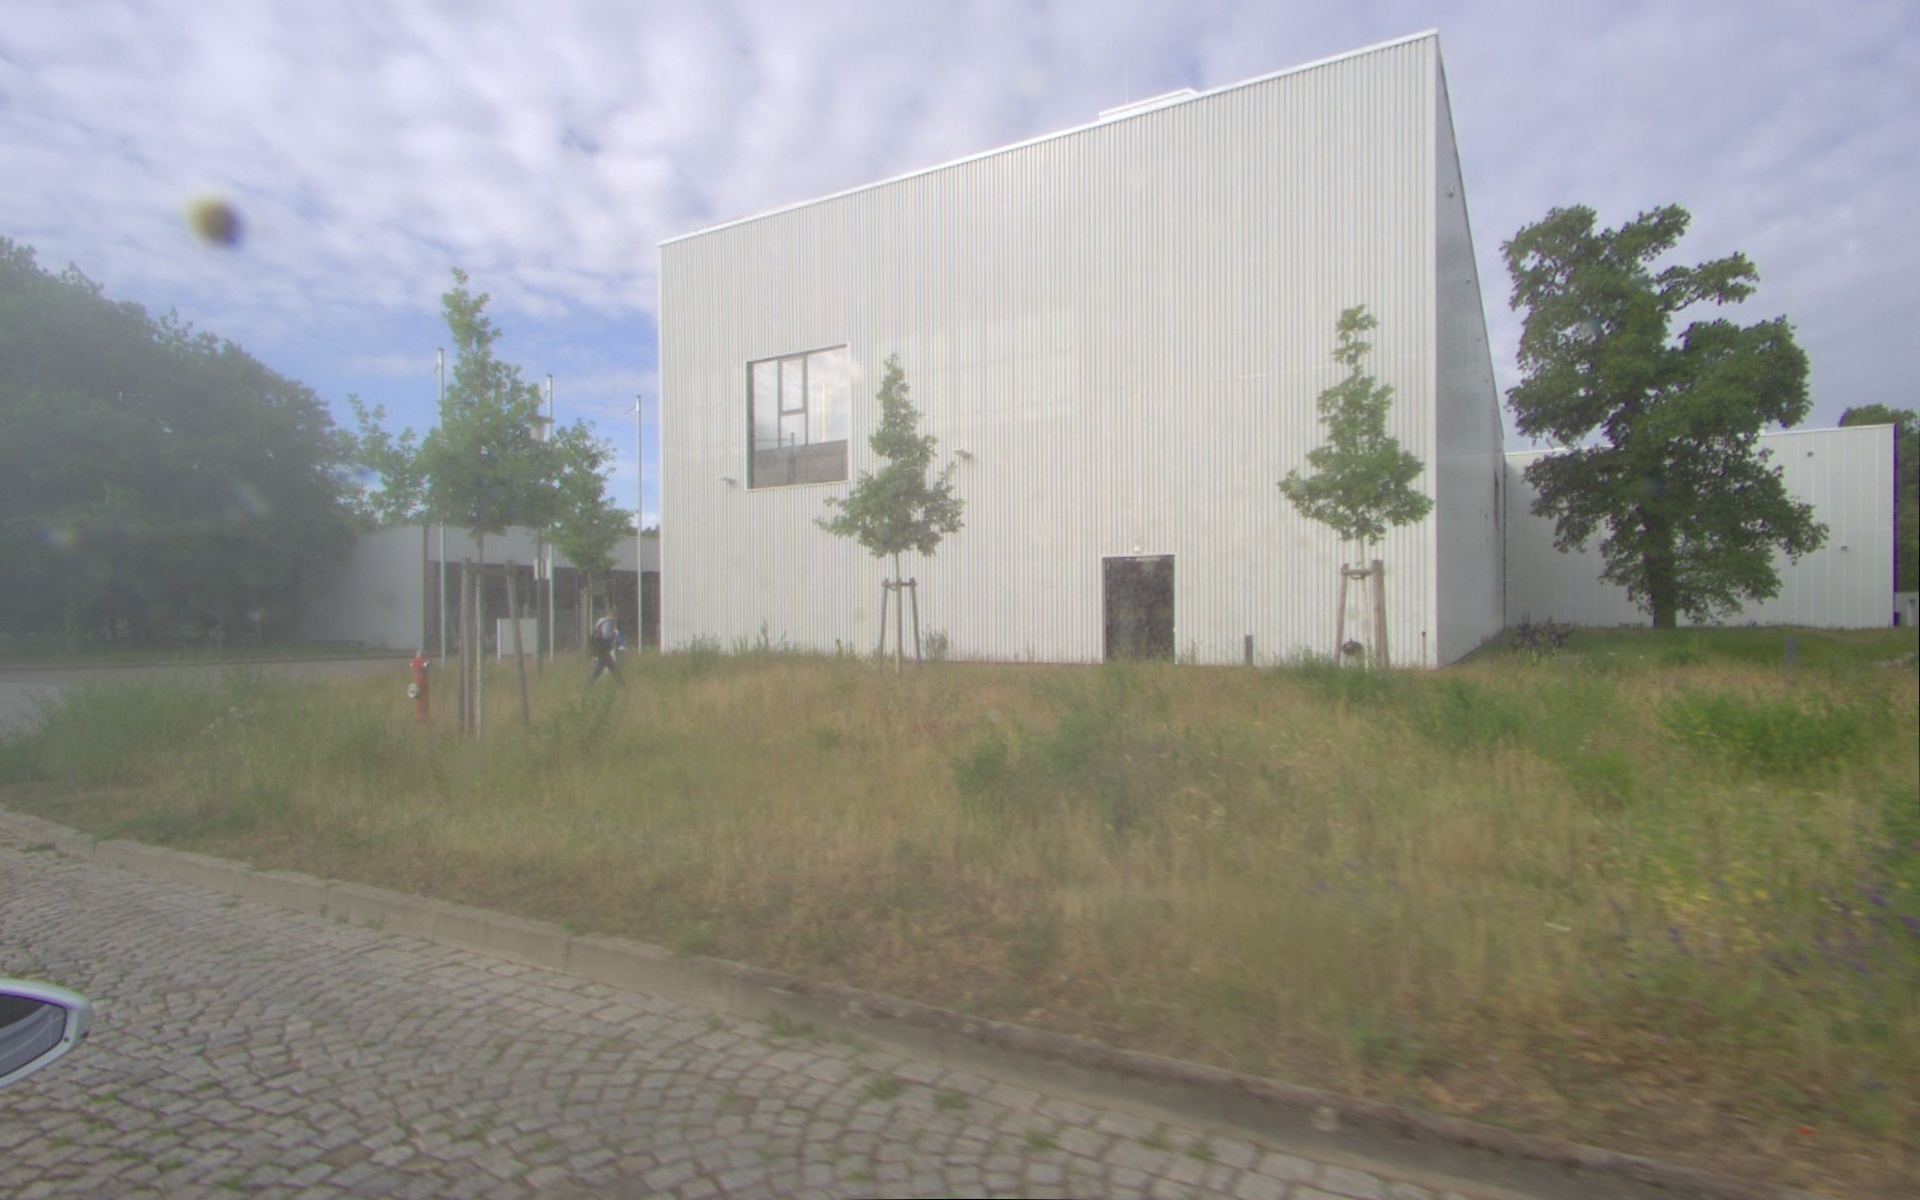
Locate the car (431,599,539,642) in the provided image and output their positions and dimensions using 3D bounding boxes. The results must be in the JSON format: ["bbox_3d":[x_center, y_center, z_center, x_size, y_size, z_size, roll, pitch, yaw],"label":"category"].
[{"bbox_3d":[-23.538,1.007,49.579,5.256,2.040,2.238,-1,0,30],"label":"car"}]

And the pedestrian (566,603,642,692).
[{"bbox_3d":[-6.564,0.850,18.463,1.065,1.577,1.067,0,0,-36],"label":"pedestrian"}]
